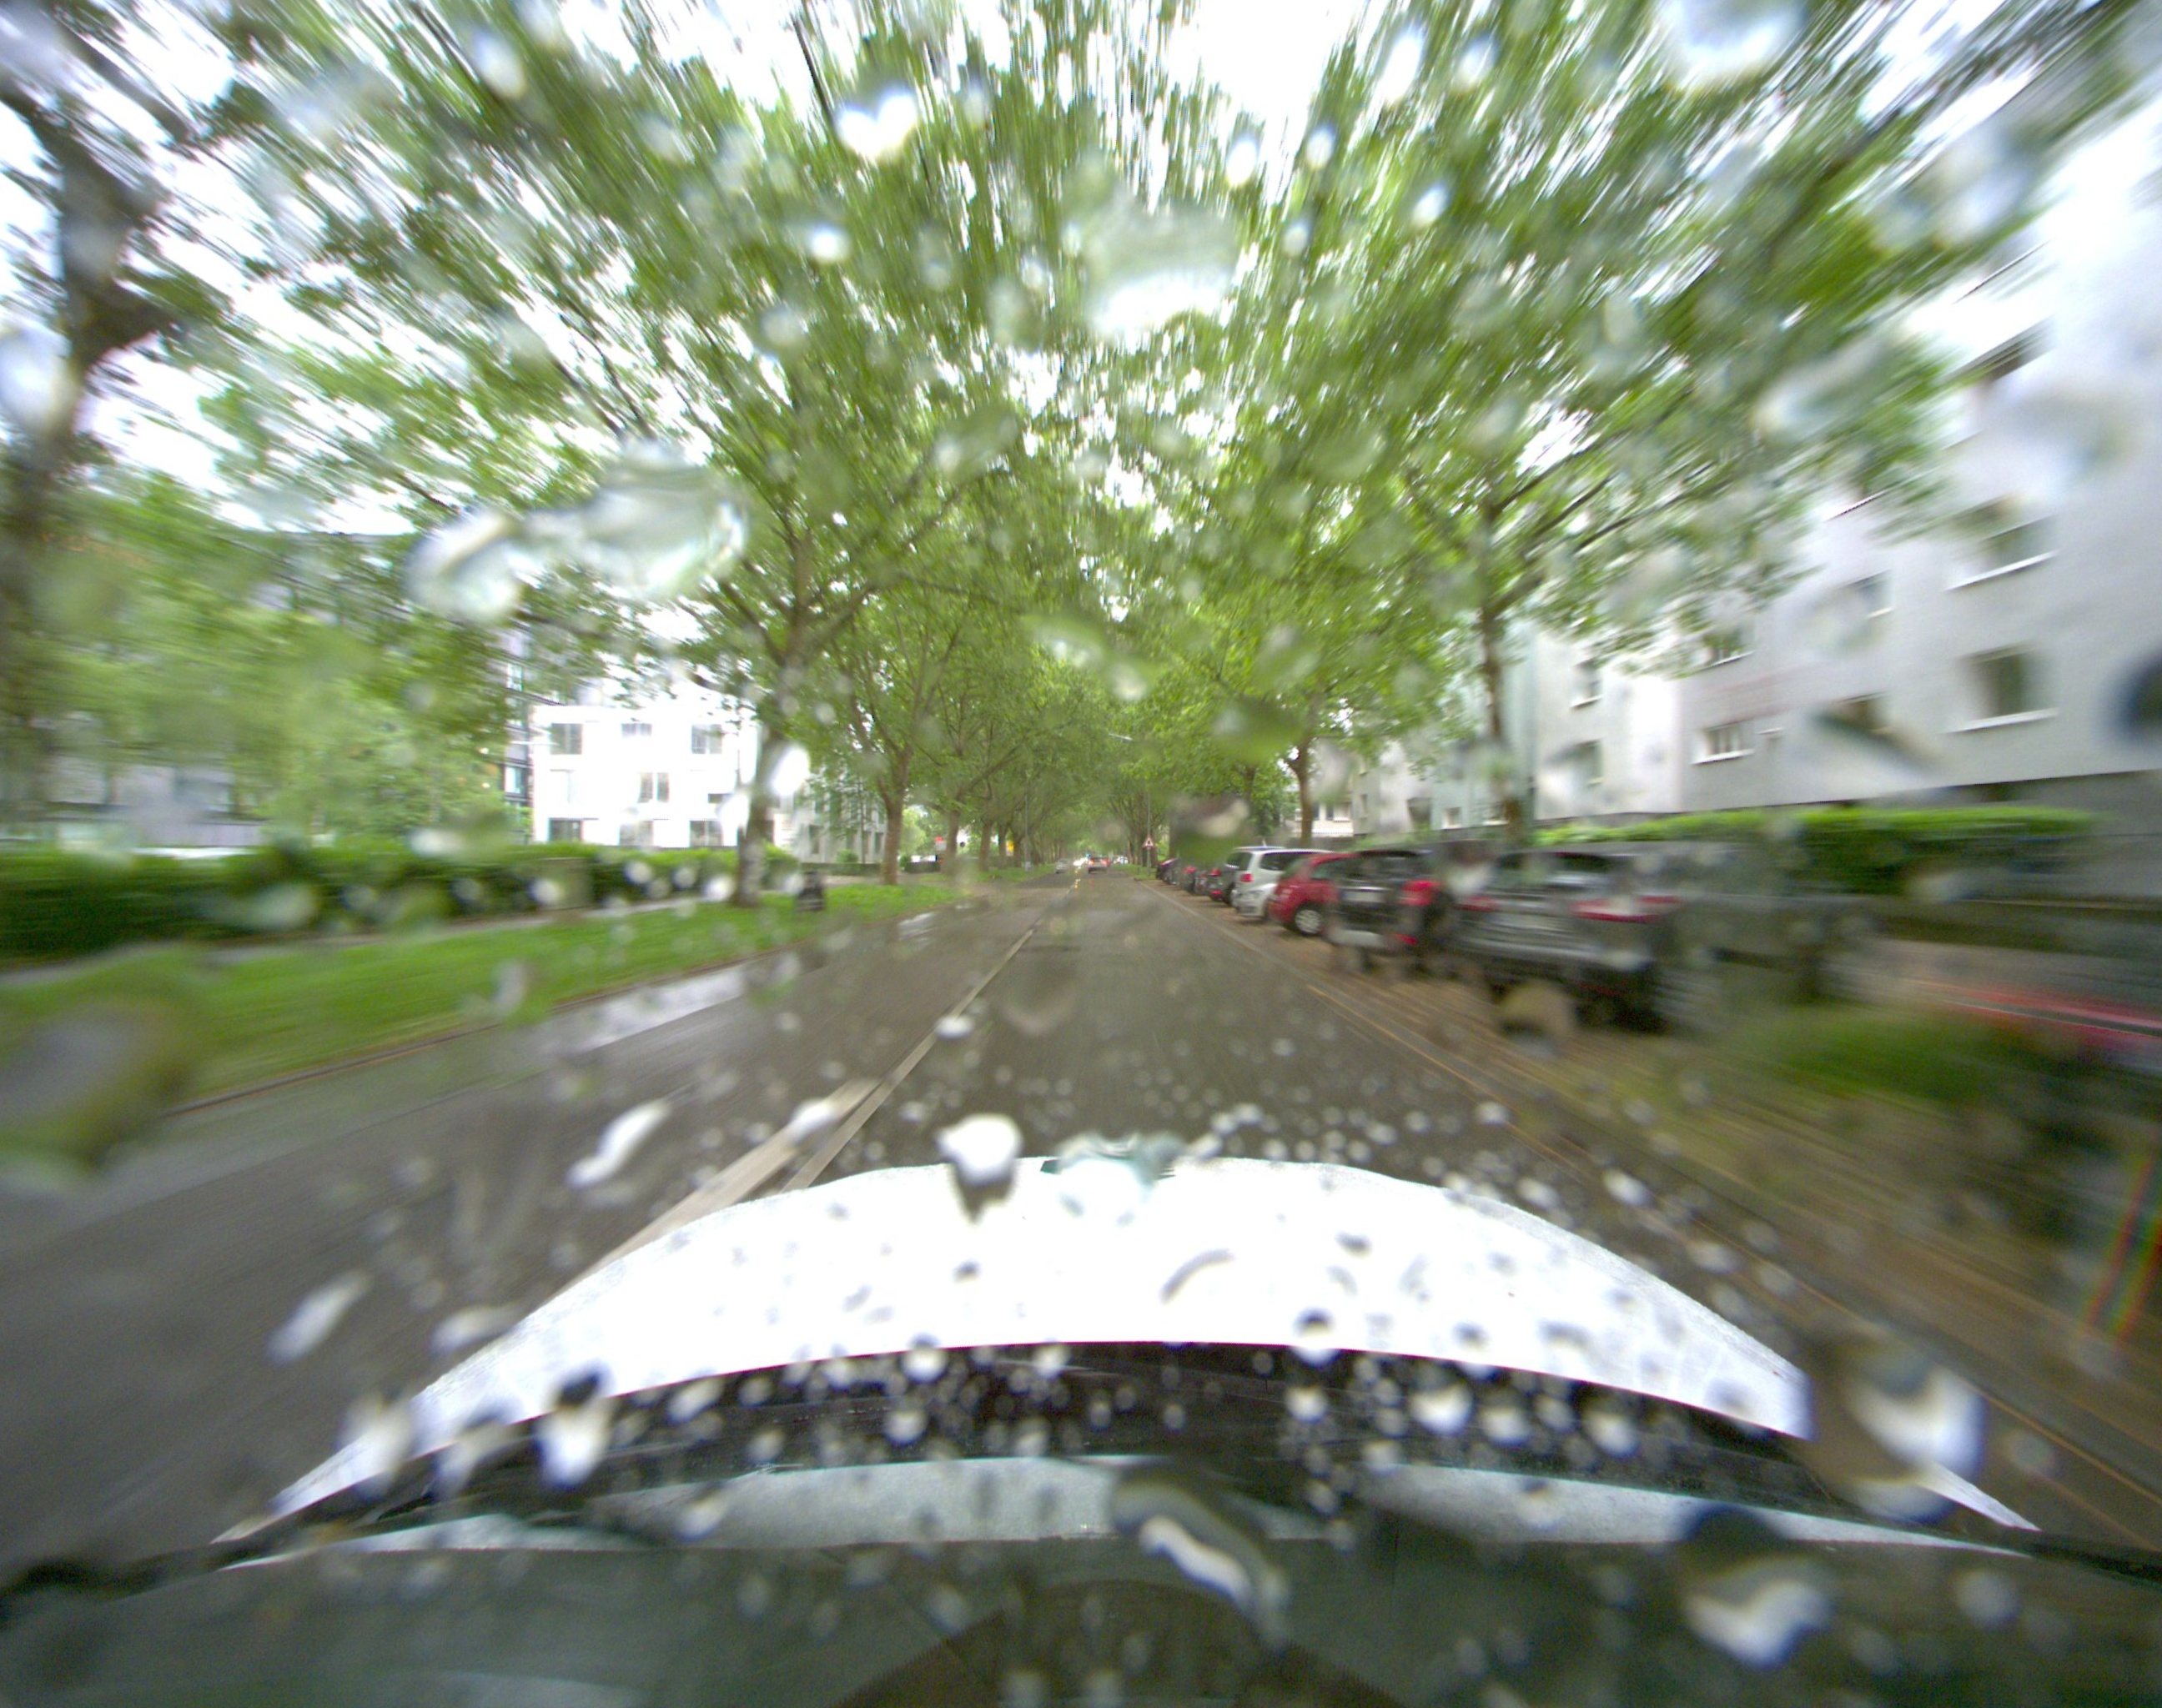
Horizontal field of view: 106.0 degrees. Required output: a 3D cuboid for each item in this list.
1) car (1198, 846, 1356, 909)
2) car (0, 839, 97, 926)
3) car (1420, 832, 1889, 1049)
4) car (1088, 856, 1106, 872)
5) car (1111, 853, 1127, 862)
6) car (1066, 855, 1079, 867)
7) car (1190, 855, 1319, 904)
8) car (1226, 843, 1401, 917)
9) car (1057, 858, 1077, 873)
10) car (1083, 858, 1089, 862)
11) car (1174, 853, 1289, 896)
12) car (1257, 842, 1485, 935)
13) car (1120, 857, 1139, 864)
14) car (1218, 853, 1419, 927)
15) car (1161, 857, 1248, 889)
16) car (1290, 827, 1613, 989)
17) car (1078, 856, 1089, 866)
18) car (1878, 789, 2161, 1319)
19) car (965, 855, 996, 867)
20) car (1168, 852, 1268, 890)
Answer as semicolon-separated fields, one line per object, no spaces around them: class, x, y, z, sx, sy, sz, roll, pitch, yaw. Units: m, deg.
car;5.761;0.675;24.342;4.322;1.762;1.819;1;0;1
car;-26.883;0.694;19.633;3.970;2.013;2.002;-1;0;3
car;5.492;0.644;7.808;4.007;1.601;2.018;1;0;-26
car;1.527;0.972;77.586;1.700;1.411;3.645;-2;0;1
car;8.810;0.747;187.628;3.536;1.841;1.711;-2;0;-1
car;-1.214;1.030;122.948;1.803;1.684;4.448;-2;0;1
car;5.708;0.823;27.081;3.972;1.537;1.631;1;0;1
car;5.799;0.627;20.662;3.972;1.727;1.802;1;0;1
car;-1.386;1.090;81.954;1.672;1.388;4.551;-1;0;2
car;1.559;1.703;238.084;1.713;1.255;4.002;1;0;2
car;5.707;0.753;31.195;4.025;1.441;1.684;-2;0;-2
car;5.326;0.621;15.327;3.687;1.536;1.740;-2;0;4
car;9.579;1.211;159.769;3.537;1.155;1.710;-2;0;-2
car;5.181;0.755;18.134;3.975;1.513;1.800;1;0;-1
car;6.034;0.897;40.116;4.030;1.530;1.779;0;0;-2
car;4.873;0.564;10.678;3.876;1.697;1.822;-2;1;-27
car;0.366;1.091;130.255;1.700;1.411;3.645;-2;0;1
car;5.141;0.621;3.219;4.011;1.601;1.786;1;0;-29
car;-13.839;0.928;112.447;3.972;1.623;2.001;0;0;1
car;6.064;0.732;36.517;4.196;1.655;1.914;0;0;0
